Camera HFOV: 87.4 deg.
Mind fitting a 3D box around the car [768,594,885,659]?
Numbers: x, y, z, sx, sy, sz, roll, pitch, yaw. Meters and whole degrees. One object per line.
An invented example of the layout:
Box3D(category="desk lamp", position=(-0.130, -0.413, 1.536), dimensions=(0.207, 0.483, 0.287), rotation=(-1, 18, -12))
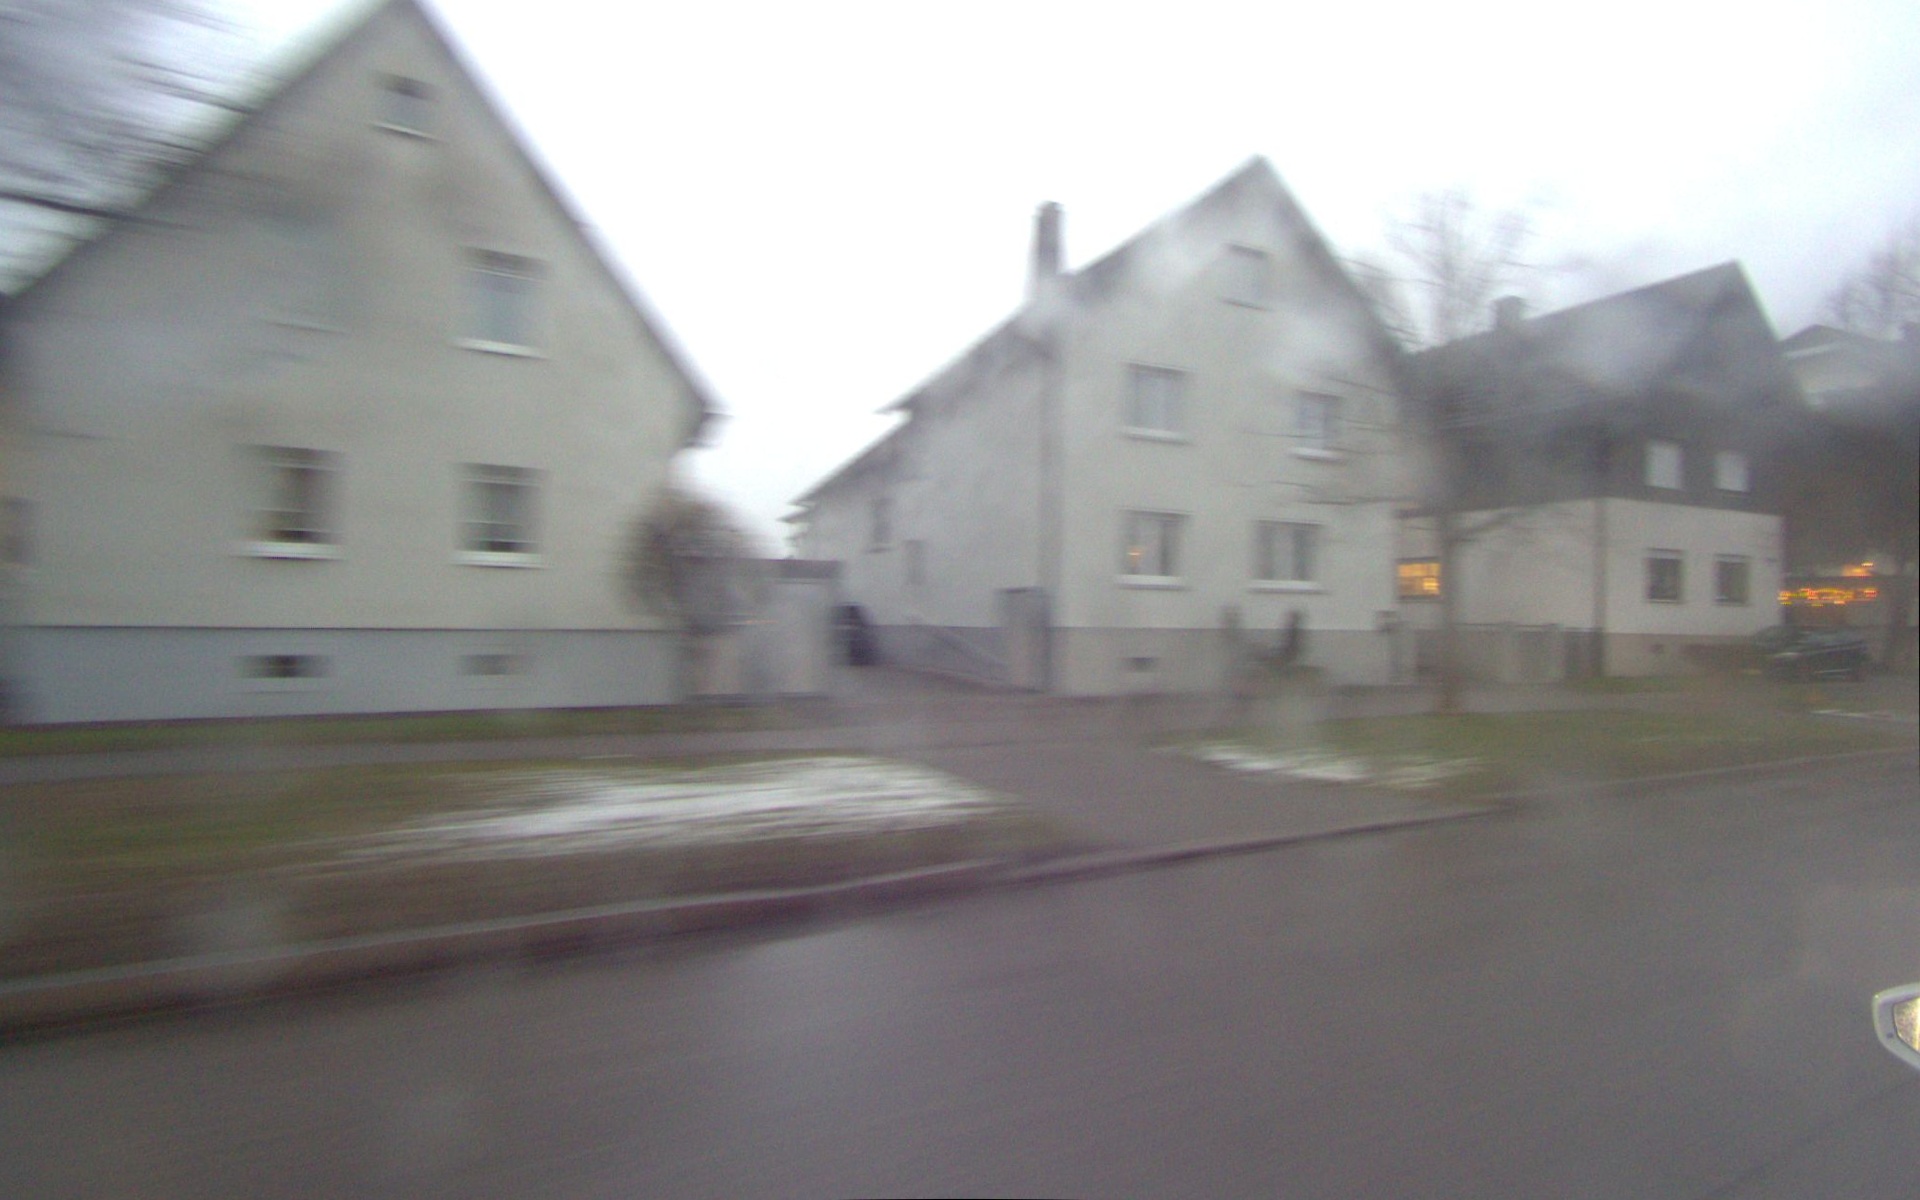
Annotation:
Box3D(category="car", position=(-3.606, 0.680, 26.478), dimensions=(2.098, 1.572, 3.978), rotation=(1, -1, -23))

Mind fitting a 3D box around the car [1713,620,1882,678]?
Box3D(category="car", position=(21.719, 1.264, 26.046), dimensions=(3.943, 1.384, 1.778), rotation=(2, -1, -23))
